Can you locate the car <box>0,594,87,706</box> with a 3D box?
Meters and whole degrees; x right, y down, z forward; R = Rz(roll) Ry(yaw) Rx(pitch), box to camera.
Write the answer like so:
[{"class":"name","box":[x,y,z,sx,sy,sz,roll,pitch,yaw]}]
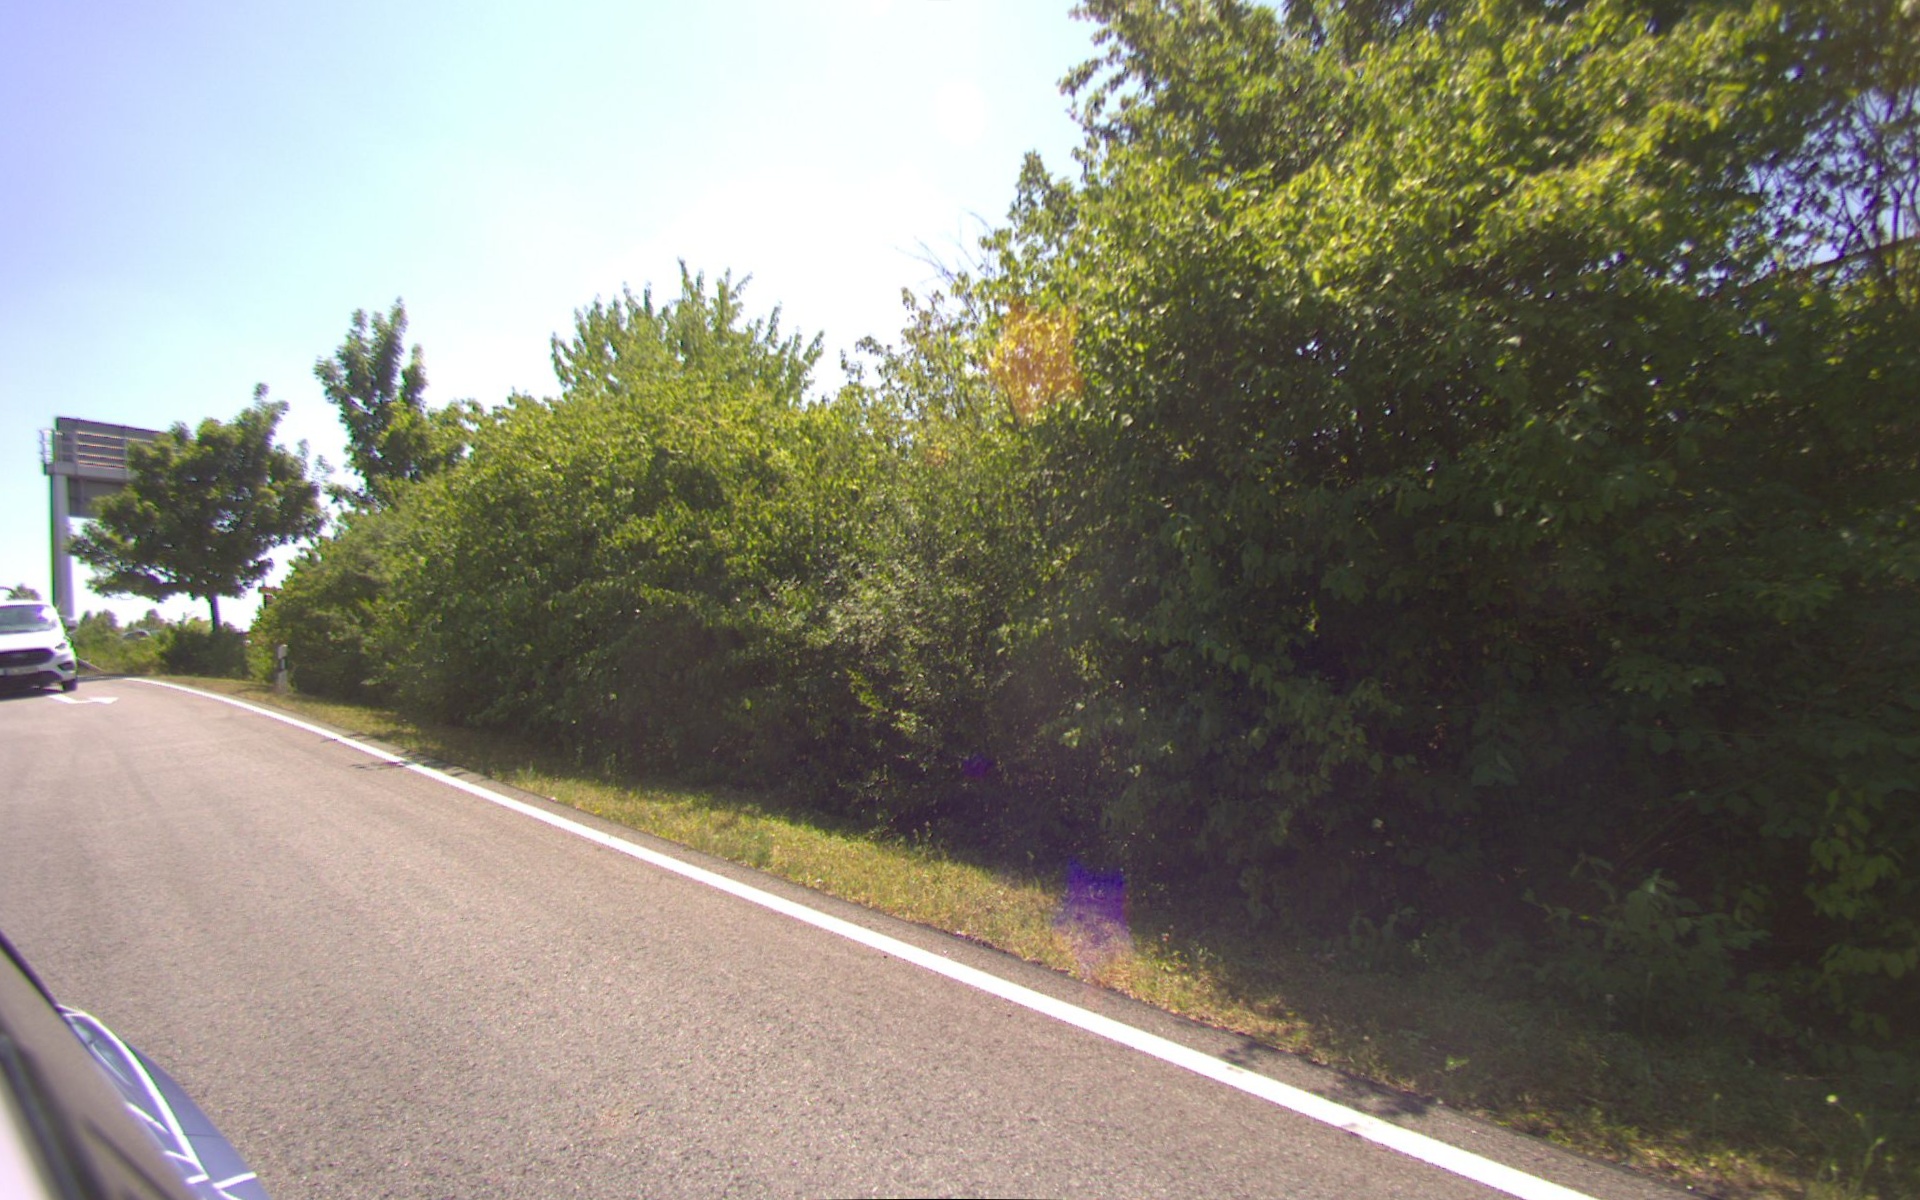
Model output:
[{"class":"car","box":[-20.490,1.052,21.547,5.869,2.100,2.004,-2,1,41]}]
